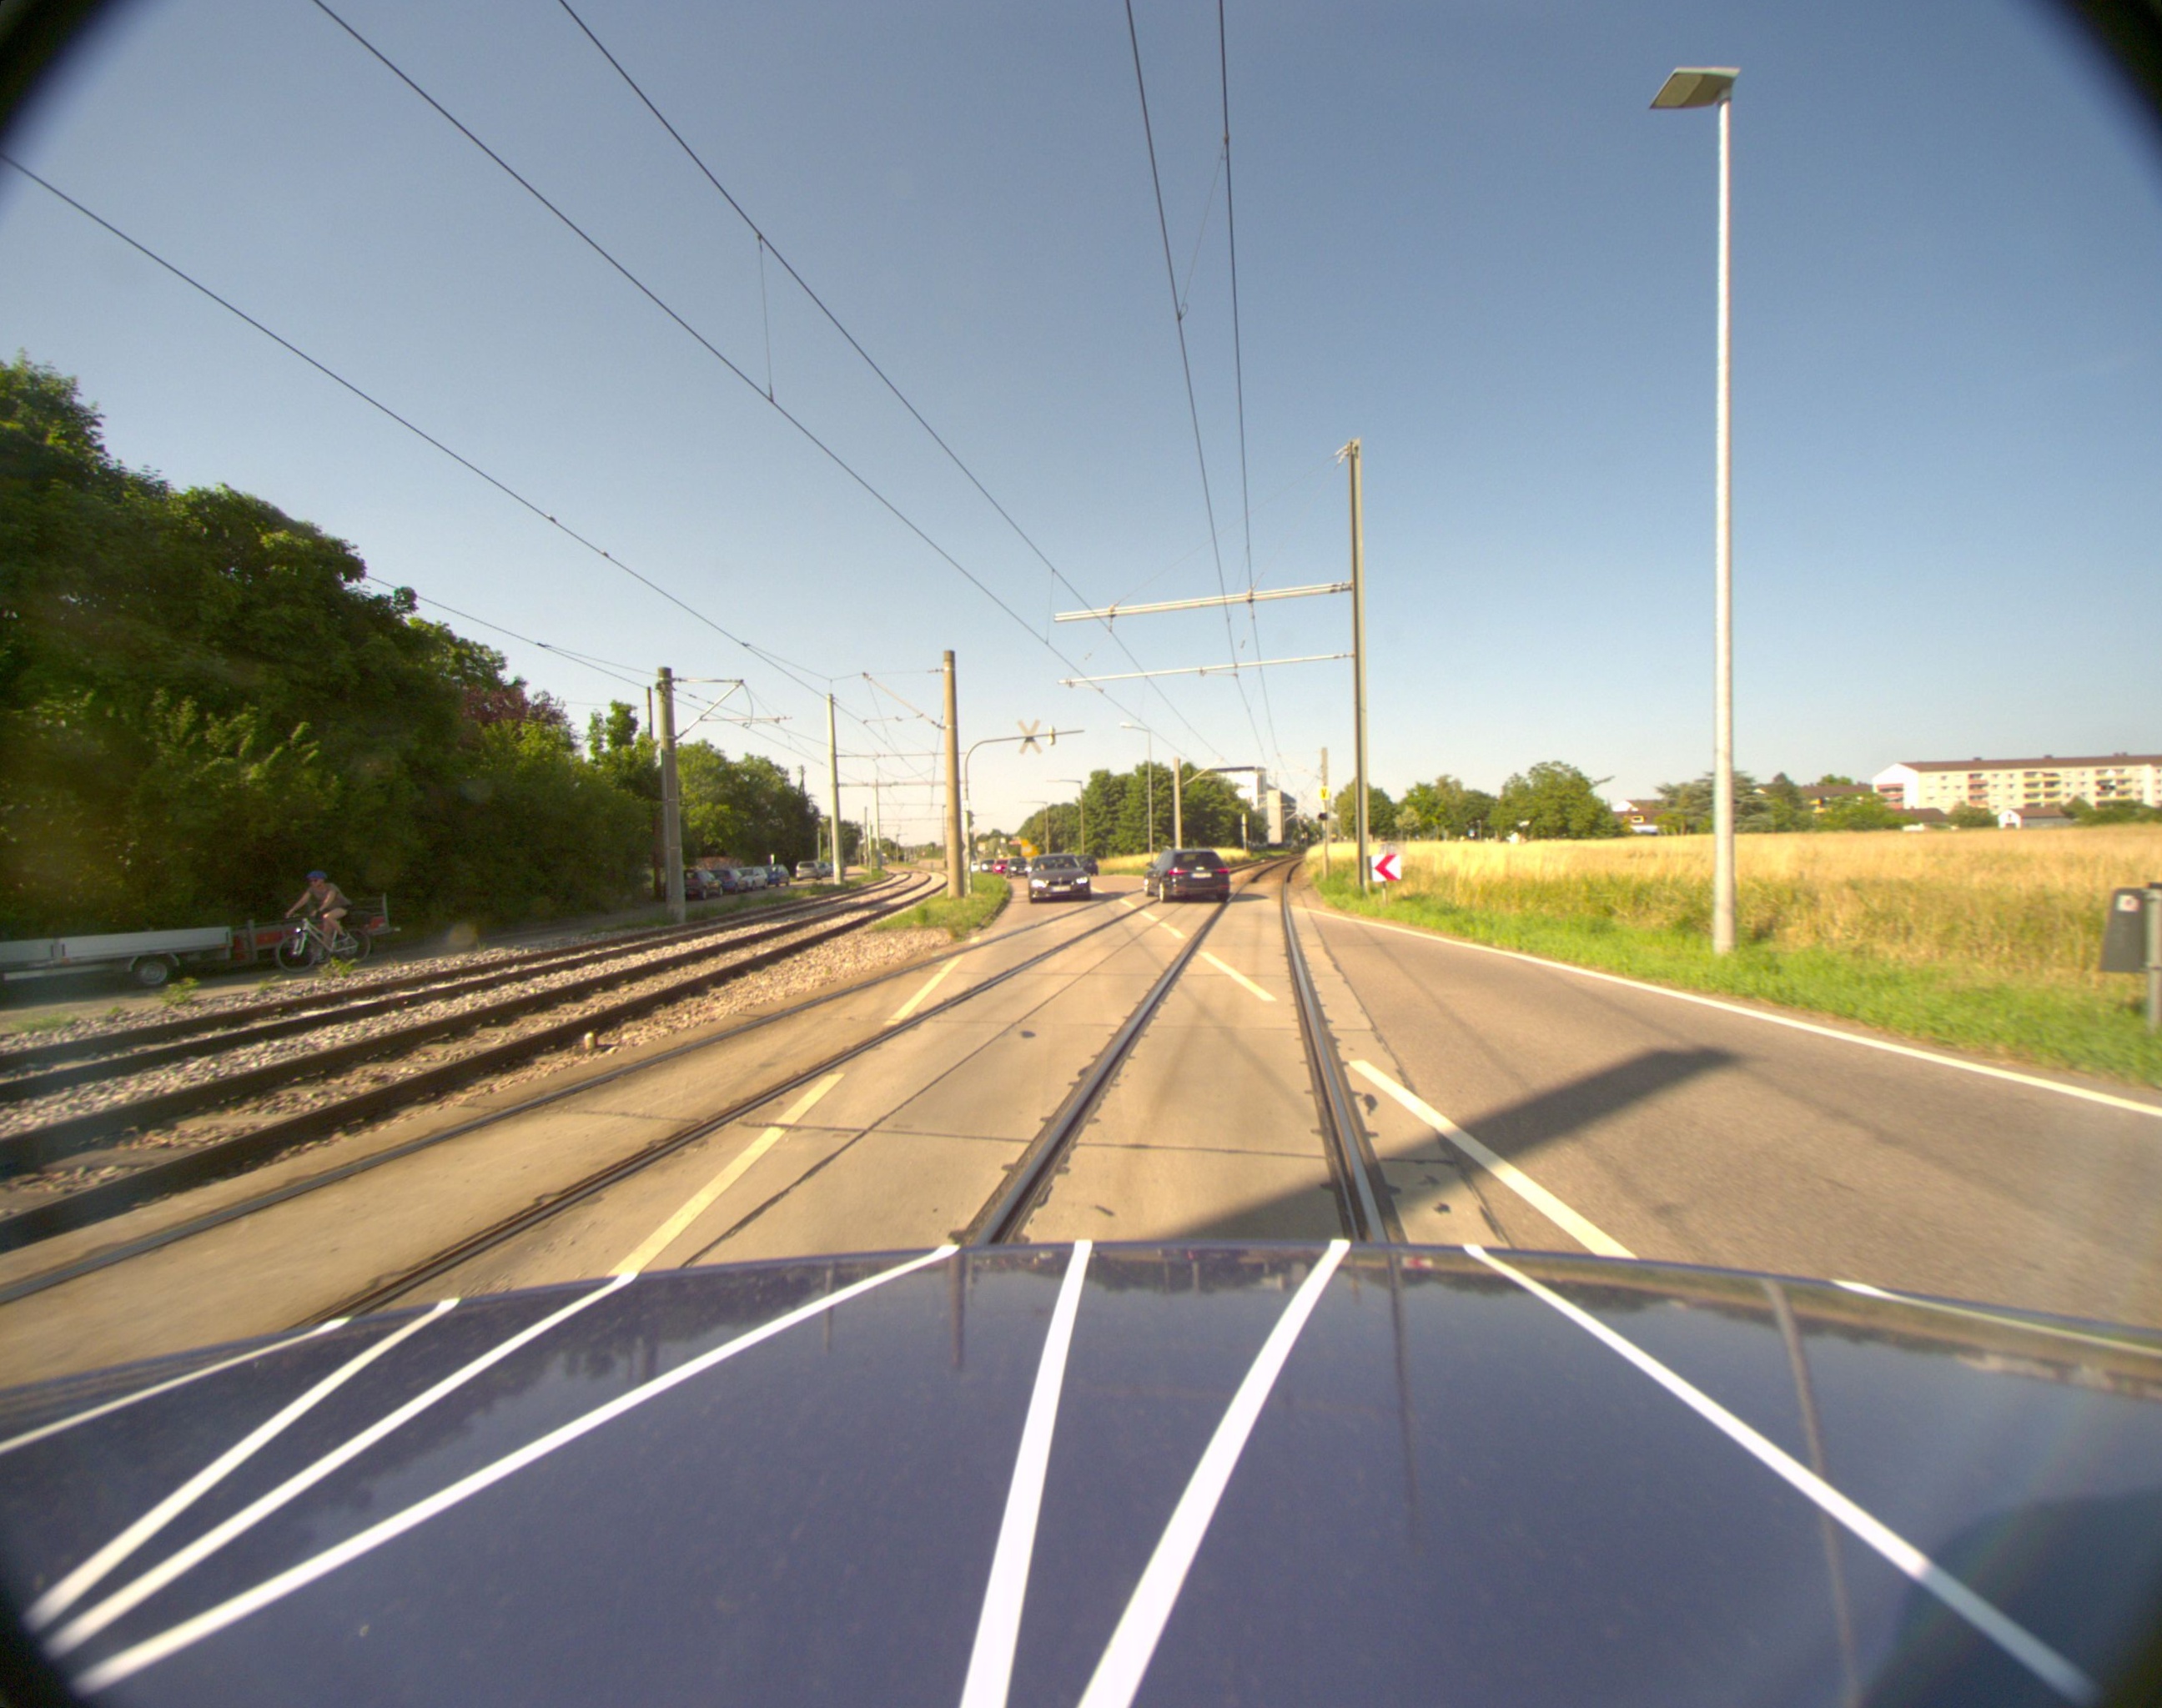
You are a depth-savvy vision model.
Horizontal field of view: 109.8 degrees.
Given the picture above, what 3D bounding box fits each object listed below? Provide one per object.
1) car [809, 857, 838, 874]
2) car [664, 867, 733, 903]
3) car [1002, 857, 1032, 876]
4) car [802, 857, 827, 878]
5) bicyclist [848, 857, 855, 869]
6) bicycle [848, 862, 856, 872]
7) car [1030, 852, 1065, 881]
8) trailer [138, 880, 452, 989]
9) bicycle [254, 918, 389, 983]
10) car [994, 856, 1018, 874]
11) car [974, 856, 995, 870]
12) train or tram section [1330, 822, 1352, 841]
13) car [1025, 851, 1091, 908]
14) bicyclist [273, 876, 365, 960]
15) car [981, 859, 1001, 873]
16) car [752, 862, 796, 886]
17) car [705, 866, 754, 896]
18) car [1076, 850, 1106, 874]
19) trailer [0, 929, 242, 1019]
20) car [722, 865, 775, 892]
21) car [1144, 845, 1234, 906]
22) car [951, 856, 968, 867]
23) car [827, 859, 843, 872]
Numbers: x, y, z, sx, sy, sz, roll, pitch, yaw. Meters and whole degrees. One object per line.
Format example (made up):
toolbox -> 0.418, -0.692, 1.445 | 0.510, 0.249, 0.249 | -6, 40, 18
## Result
car -> -25.825, 1.163, 76.304 | 1.913, 1.581, 4.723 | -2, 0, -10
car -> -18.431, 1.441, 36.827 | 1.628, 1.402, 4.517 | -4, 1, -9
car -> -5.012, 0.940, 59.350 | 1.849, 1.347, 4.150 | -4, 1, -10
car -> -22.555, 1.126, 64.324 | 1.528, 1.601, 4.478 | -2, 0, -14
bicyclist -> -23.354, 0.913, 77.323 | 0.641, 1.226, 0.790 | -4, 1, -14
bicycle -> -23.341, 1.335, 77.362 | 0.645, 0.904, 1.811 | -4, 1, -14
car -> -1.927, 0.664, 42.592 | 1.711, 1.444, 4.588 | -4, 0, -5
trailer -> -15.966, 1.532, 15.863 | 2.032, 1.587, 4.258 | -5, 1, -1
bicycle -> -13.945, 1.741, 14.037 | 0.644, 0.904, 1.843 | -3, 1, -3
car -> -7.414, 1.064, 75.033 | 1.849, 1.587, 3.735 | -4, 1, -11
car -> -12.027, 1.075, 94.199 | 1.970, 1.609, 4.302 | -3, 1, -15
train or tram section -> 59.717, -5.202, 174.450 | 2.909, 3.549, 14.277 | -3, 2, 26
car -> -0.663, 0.705, 23.160 | 1.747, 1.444, 3.946 | -3, 1, -1
bicyclist -> -13.974, 1.145, 13.959 | 0.631, 1.414, 0.962 | -3, 1, -3
car -> -10.069, 1.321, 84.916 | 1.609, 1.504, 4.263 | -4, 1, -13
car -> -21.134, 1.341, 52.430 | 1.683, 1.422, 3.909 | -4, 0, -6
car -> -19.216, 1.438, 41.672 | 1.490, 1.393, 4.145 | -3, 1, -12
car -> 0.641, 0.538, 51.123 | 1.628, 1.485, 3.999 | -3, 0, -3
trailer -> -16.024, 1.917, 11.825 | 1.736, 0.934, 3.727 | -6, 1, -1
car -> -20.256, 1.436, 46.511 | 1.714, 1.457, 4.387 | -2, 0, -7
car -> 2.915, 0.526, 21.319 | 1.697, 1.431, 4.282 | -3, 1, -2
car -> -18.061, 1.070, 112.418 | 1.839, 1.504, 4.147 | -5, 1, -17
car -> -28.522, 1.272, 88.088 | 1.540, 1.440, 4.125 | -2, 0, -16
